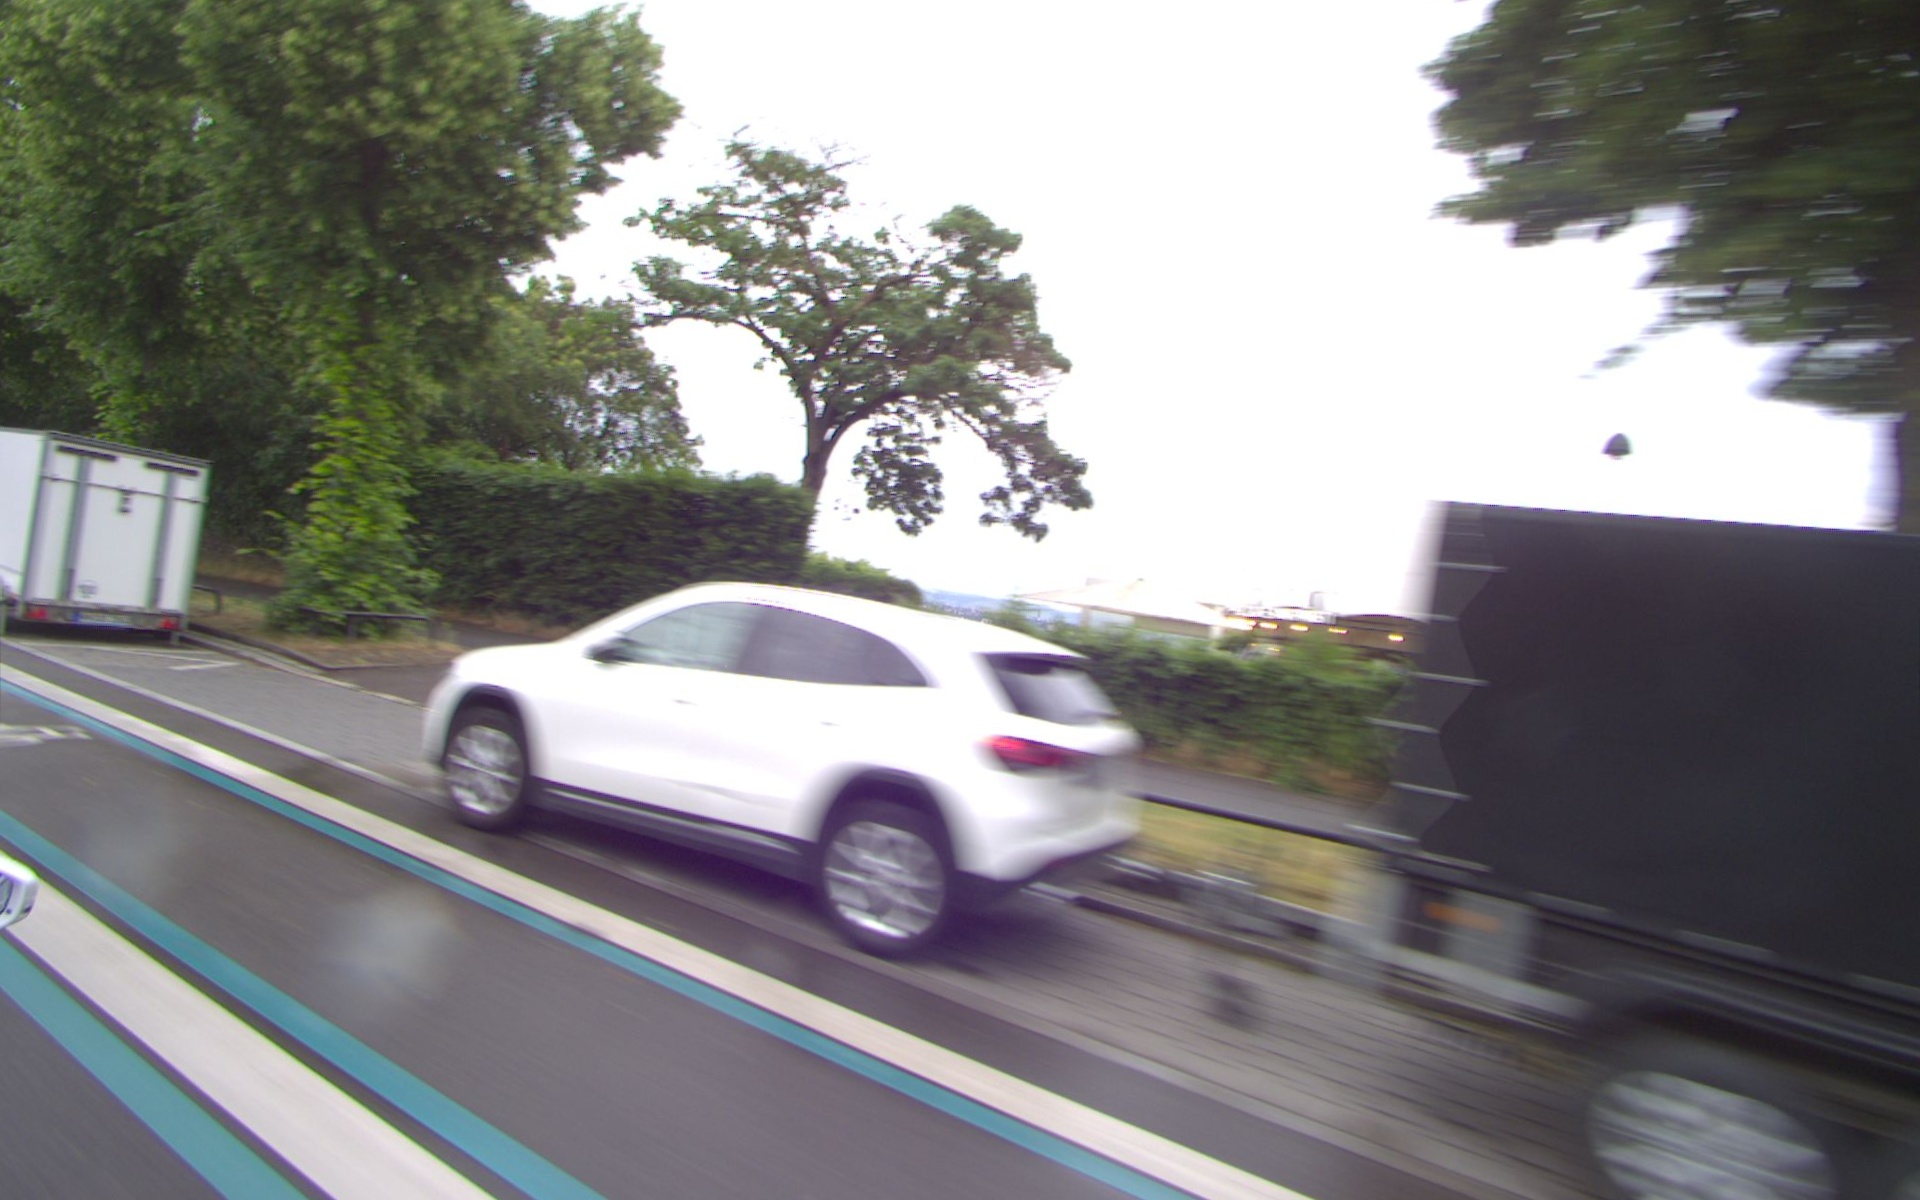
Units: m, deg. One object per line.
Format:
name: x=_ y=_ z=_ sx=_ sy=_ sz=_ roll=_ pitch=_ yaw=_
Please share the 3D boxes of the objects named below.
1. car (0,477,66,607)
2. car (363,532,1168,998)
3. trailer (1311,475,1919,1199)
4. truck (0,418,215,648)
car: x=-15.772 y=-1.097 z=15.494 sx=4.274 sy=1.811 sz=1.725 roll=7 pitch=-1 yaw=32
car: x=-1.215 y=0.699 z=5.940 sx=4.335 sy=1.603 sz=1.761 roll=7 pitch=-1 yaw=26
trailer: x=3.246 y=0.918 z=3.288 sx=3.507 sy=2.295 sz=1.348 roll=7 pitch=-2 yaw=34
truck: x=-11.250 y=-0.874 z=12.471 sx=3.934 sy=2.361 sz=1.722 roll=7 pitch=-1 yaw=32
